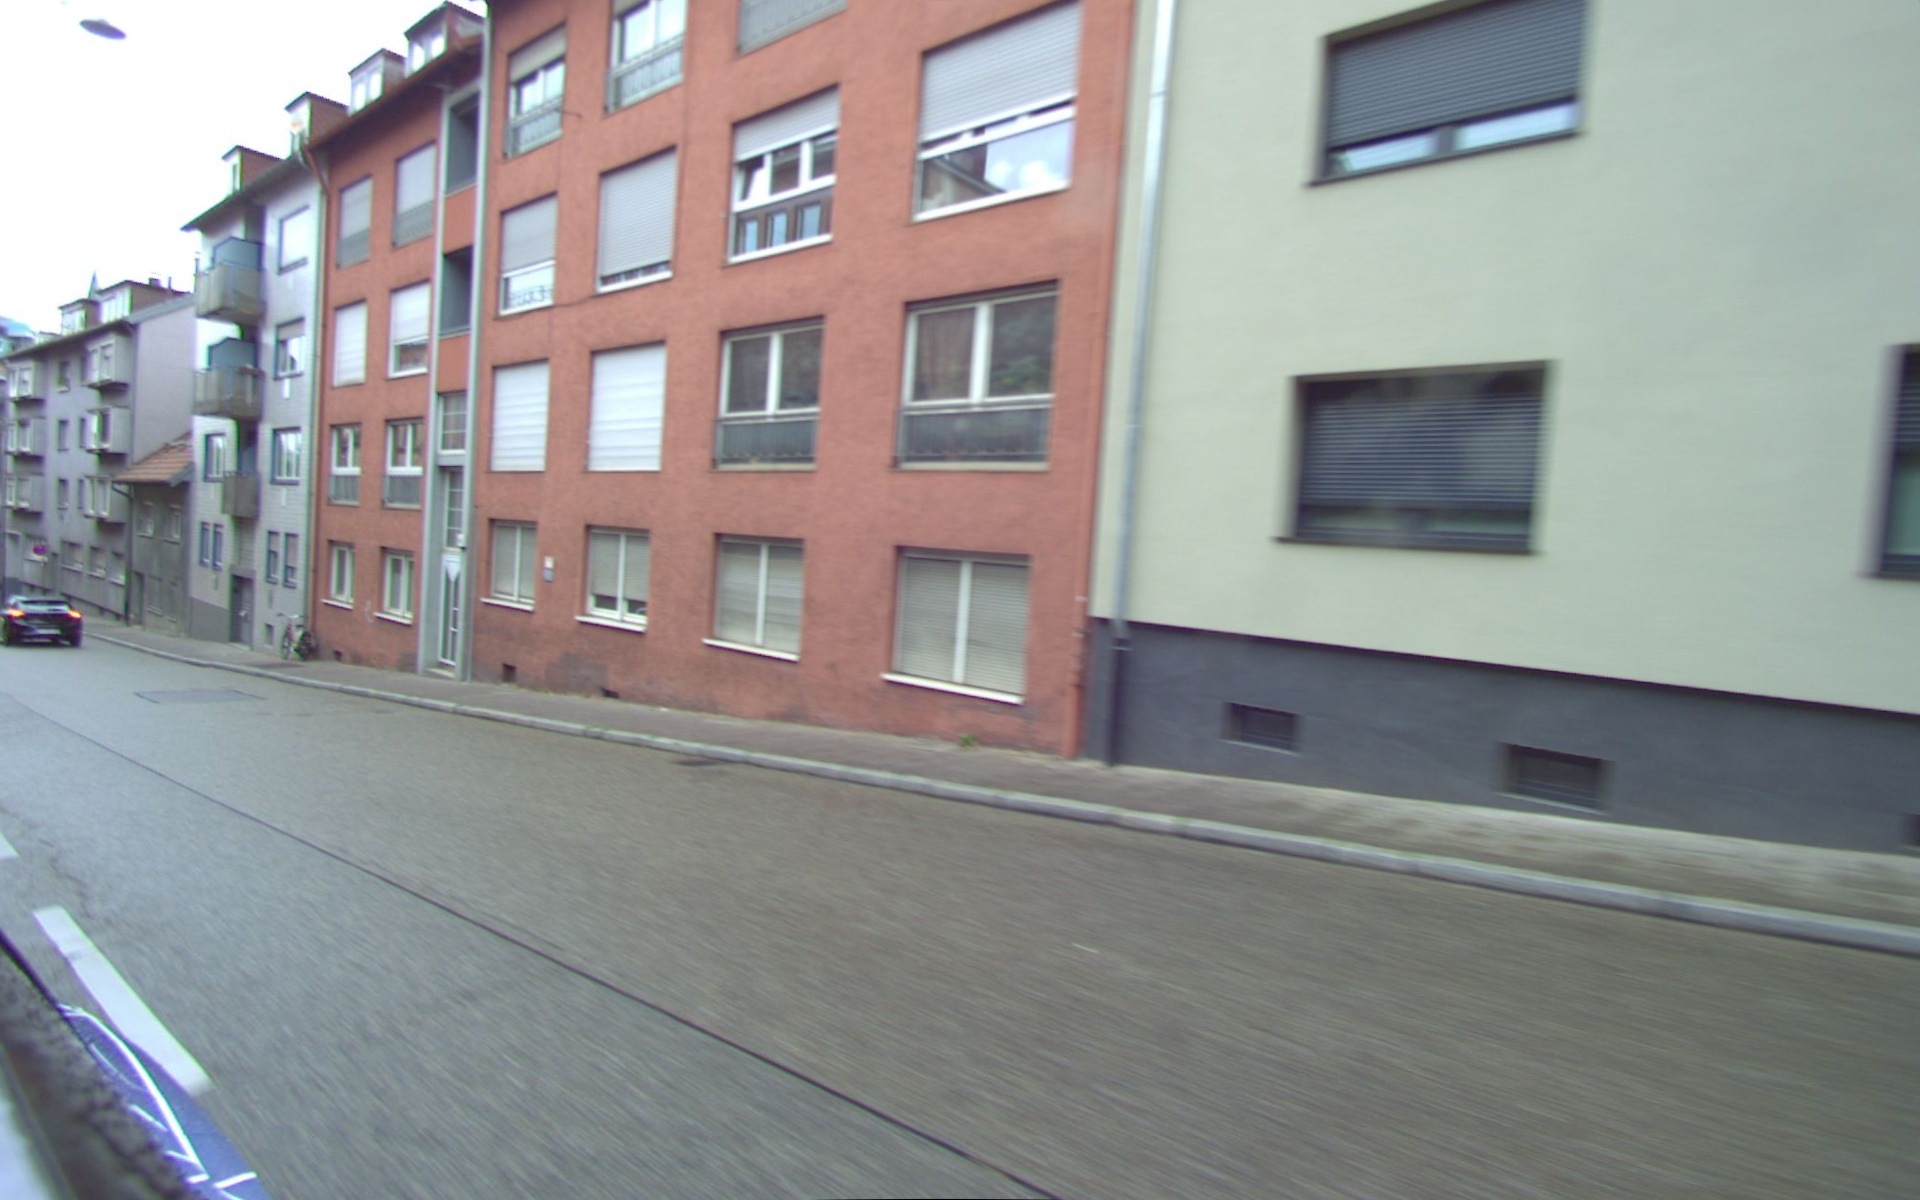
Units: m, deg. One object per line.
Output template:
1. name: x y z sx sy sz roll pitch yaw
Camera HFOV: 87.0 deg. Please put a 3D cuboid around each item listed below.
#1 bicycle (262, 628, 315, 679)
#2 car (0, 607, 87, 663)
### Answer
1. bicycle: -16.413 1.284 24.732 2.039 1.125 0.565 0 2 42
2. car: -27.389 1.005 29.734 3.997 1.490 1.973 1 -3 40
